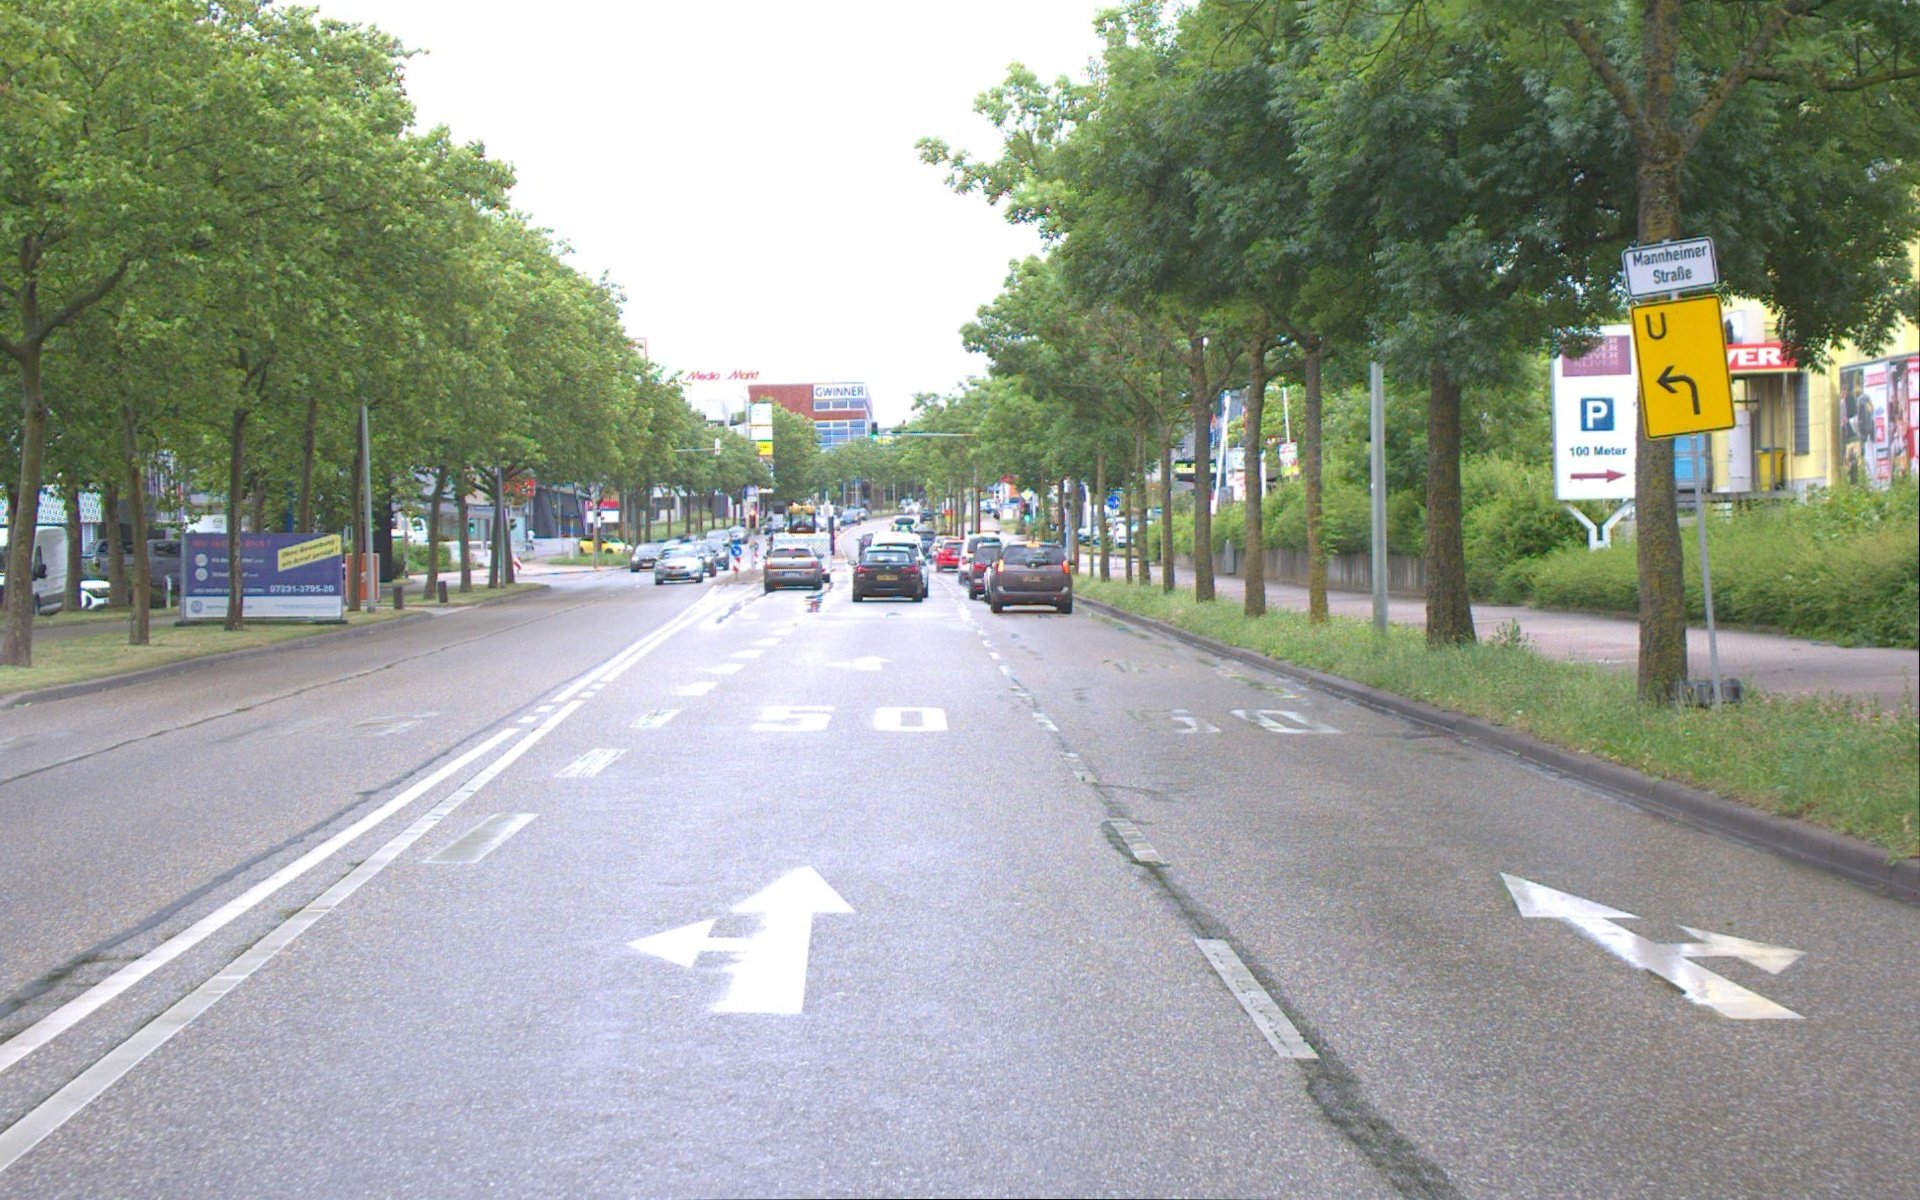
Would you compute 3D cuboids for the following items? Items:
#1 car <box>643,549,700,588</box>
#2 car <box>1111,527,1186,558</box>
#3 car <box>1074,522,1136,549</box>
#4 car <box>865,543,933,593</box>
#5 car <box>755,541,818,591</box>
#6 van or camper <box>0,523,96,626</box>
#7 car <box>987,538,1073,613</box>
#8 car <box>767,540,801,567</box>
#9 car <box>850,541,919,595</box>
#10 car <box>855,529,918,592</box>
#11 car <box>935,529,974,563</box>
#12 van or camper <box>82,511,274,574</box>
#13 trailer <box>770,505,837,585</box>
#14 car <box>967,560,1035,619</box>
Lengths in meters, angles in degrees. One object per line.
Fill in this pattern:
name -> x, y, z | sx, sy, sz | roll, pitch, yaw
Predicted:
car -> -11.408, -1.249, 135.519 | 1.993, 1.424, 4.686 | -2, 1, -7
car -> 10.395, -3.161, 189.153 | 1.930, 1.571, 4.278 | 0, 2, 40
car -> 8.776, -3.881, 207.704 | 3.589, 1.530, 1.643 | -2, 2, -41
car -> -1.803, -0.939, 100.142 | 1.682, 1.372, 4.001 | -1, 1, -5
car -> -5.743, -1.150, 114.471 | 1.907, 1.573, 4.881 | -2, 1, -1
van or camper -> -23.390, -0.669, 86.066 | 1.993, 2.462, 6.402 | 0, 1, -1
car -> 1.555, -0.569, 77.850 | 1.726, 1.619, 4.471 | -1, 1, -1
car -> -9.621, -2.547, 187.408 | 1.682, 1.372, 4.001 | -1, 1, -5
car -> -2.034, -0.863, 91.265 | 1.781, 1.393, 4.000 | 0, 1, -2
car -> -2.410, -1.288, 112.386 | 1.993, 2.007, 4.000 | 1, 0, -1
car -> -0.252, -2.418, 154.028 | 1.695, 1.438, 3.989 | -1, 1, -1
van or camper -> -23.811, -1.751, 104.709 | 5.282, 1.815, 2.267 | -2, 1, -27
trailer -> -5.889, -2.077, 129.458 | 2.372, 2.887, 5.546 | -1, 1, -3
car -> 1.146, -0.313, 98.695 | 1.801, 1.581, 4.451 | 1, 1, -1
